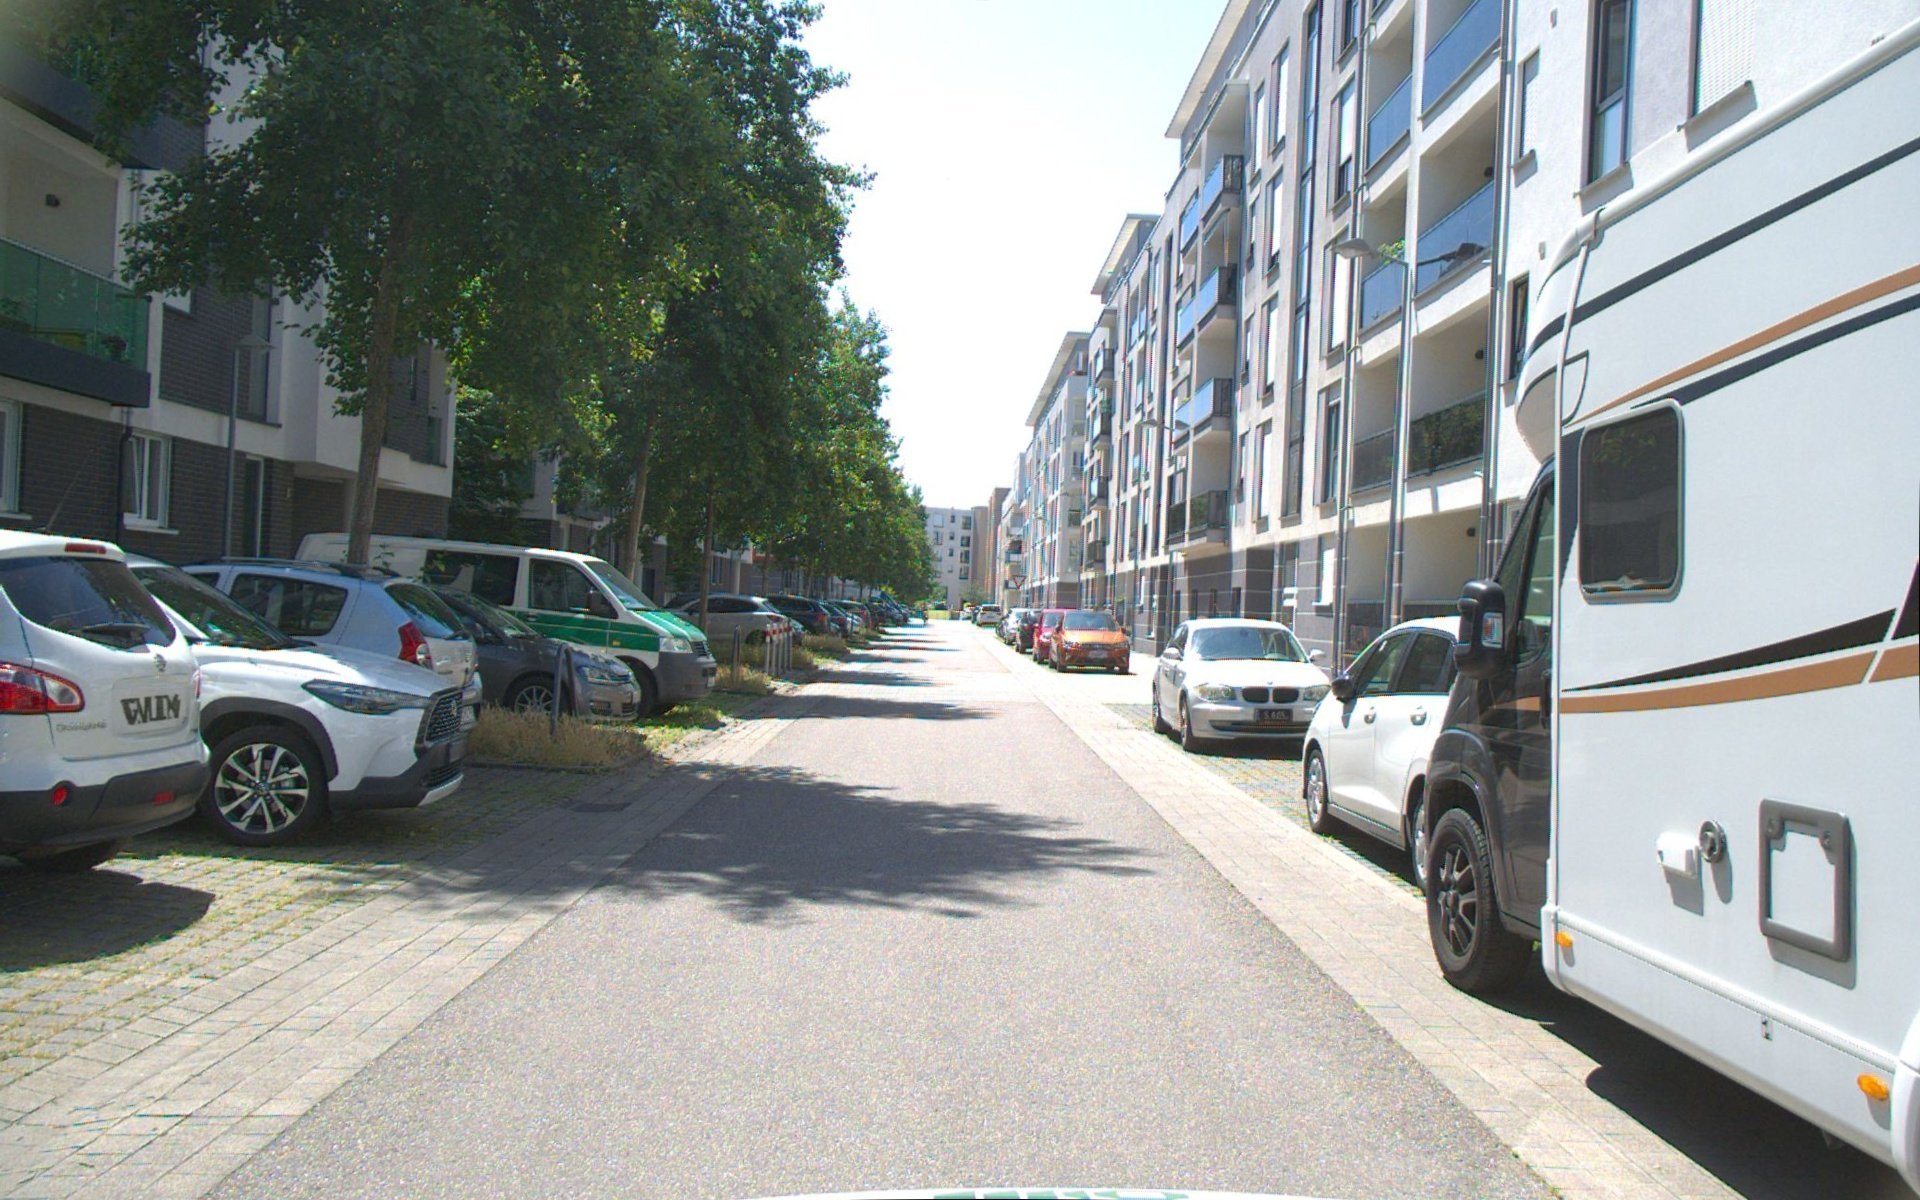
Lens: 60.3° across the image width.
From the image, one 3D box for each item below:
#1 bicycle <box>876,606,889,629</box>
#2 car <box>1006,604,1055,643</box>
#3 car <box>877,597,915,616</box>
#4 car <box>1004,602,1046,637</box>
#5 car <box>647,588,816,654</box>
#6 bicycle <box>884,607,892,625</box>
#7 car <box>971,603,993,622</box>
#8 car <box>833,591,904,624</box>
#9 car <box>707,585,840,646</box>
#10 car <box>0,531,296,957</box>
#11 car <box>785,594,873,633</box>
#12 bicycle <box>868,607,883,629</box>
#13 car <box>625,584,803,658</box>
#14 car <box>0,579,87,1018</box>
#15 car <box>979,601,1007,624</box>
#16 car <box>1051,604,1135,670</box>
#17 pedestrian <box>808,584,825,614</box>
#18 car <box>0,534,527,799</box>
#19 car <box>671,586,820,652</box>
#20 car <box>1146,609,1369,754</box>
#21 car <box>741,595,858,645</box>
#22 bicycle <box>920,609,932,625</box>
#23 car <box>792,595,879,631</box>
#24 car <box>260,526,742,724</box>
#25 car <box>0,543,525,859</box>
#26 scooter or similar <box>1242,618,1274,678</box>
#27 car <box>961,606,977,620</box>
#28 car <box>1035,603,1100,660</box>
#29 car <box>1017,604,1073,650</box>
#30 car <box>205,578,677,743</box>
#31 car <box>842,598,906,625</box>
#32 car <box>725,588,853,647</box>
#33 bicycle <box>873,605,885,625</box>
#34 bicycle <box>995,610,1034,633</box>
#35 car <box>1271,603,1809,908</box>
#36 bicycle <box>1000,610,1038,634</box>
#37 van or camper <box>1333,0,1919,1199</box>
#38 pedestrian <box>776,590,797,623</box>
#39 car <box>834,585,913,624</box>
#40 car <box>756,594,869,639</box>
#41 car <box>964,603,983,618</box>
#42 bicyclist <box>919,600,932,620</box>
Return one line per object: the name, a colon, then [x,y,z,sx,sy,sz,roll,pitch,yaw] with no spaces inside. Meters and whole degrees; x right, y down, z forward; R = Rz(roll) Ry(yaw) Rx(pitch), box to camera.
bicycle: [-4.107,0.934,87.257,0.364,1.201,1.815,1,0,-12]
car: [2.844,0.920,67.378,1.796,1.531,4.350,0,0,0]
car: [-7.231,0.724,187.280,3.902,2.049,2.001,2,0,6]
car: [2.946,0.882,75.698,1.703,1.511,4.228,1,0,0]
car: [-6.120,0.556,44.666,4.229,1.501,1.792,4,0,-1]
bicycle: [-4.607,1.026,105.953,0.456,1.161,1.925,2,0,-3]
car: [1.912,1.055,143.235,1.721,1.579,4.001,2,0,3]
car: [-6.777,0.542,123.018,5.041,2.156,2.311,3,0,-1]
car: [-5.838,0.491,52.141,3.906,1.658,1.933,3,0,-1]
car: [-5.419,0.458,7.520,3.898,1.657,1.950,4,0,1]
car: [-6.067,0.616,76.903,3.858,1.580,1.872,3,0,-1]
bicycle: [-4.461,0.953,87.225,0.426,1.147,1.972,1,0,-12]
car: [-6.220,0.522,42.219,4.167,1.544,1.924,4,0,-1]
car: [-5.591,0.521,5.072,4.752,1.482,1.829,4,0,-1]
car: [2.437,0.907,123.133,1.956,1.686,4.115,1,0,0]
car: [3.222,0.874,40.691,1.702,1.513,4.258,1,0,0]
pedestrian: [-9.693,-0.070,111.977,0.988,2.049,1.130,1,0,2]
car: [-5.439,0.473,12.790,3.605,1.705,1.851,3,0,-1]
car: [-6.087,0.522,47.228,3.906,1.619,1.884,3,0,0]
car: [3.363,0.866,19.523,1.808,1.441,4.426,2,0,0]
car: [-5.537,0.684,57.314,3.897,1.470,1.774,3,-1,-5]
bicycle: [-2.578,1.290,126.703,0.880,1.149,2.039,2,0,-1]
car: [-6.000,0.657,79.800,4.098,1.512,1.957,3,-1,-4]
car: [-5.488,0.294,20.329,5.232,2.147,2.187,2,0,1]
car: [-5.173,0.513,10.155,4.470,1.621,1.964,4,0,-6]
scooter or similar: [6.482,1.033,35.933,0.534,1.247,1.530,3,0,14]
car: [1.181,1.661,219.000,1.953,1.747,3.999,2,0,-2]
car: [2.968,0.856,46.223,1.563,1.512,3.675,0,0,0]
car: [2.838,0.890,55.990,1.609,1.488,4.117,0,0,-1]
car: [-5.333,0.610,17.488,4.332,1.516,1.999,2,0,-3]
car: [-5.972,0.799,115.840,4.294,1.541,2.075,4,0,-1]
car: [-5.619,0.570,54.669,3.905,1.679,1.918,3,0,1]
bicycle: [-5.182,0.952,105.728,0.559,1.194,1.766,5,1,-7]
bicycle: [2.724,1.064,82.392,1.882,1.153,0.609,1,0,8]
car: [3.348,0.796,10.509,1.771,1.531,4.258,1,0,-3]
bicycle: [2.871,1.080,80.088,1.751,1.123,0.746,1,0,-4]
van or camper: [3.190,0.112,4.223,2.390,2.957,7.823,3,-1,-2]
pedestrian: [-9.278,0.331,88.473,0.979,1.720,0.832,1,0,2]
car: [-6.693,0.351,128.451,5.901,2.865,2.605,1,0,-1]
car: [-5.698,0.636,64.328,4.273,1.740,1.999,0,0,-3]
car: [1.577,1.176,191.781,1.953,1.704,3.999,2,0,-2]
bicyclist: [-2.620,0.772,126.715,0.934,1.485,0.799,2,0,-1]
